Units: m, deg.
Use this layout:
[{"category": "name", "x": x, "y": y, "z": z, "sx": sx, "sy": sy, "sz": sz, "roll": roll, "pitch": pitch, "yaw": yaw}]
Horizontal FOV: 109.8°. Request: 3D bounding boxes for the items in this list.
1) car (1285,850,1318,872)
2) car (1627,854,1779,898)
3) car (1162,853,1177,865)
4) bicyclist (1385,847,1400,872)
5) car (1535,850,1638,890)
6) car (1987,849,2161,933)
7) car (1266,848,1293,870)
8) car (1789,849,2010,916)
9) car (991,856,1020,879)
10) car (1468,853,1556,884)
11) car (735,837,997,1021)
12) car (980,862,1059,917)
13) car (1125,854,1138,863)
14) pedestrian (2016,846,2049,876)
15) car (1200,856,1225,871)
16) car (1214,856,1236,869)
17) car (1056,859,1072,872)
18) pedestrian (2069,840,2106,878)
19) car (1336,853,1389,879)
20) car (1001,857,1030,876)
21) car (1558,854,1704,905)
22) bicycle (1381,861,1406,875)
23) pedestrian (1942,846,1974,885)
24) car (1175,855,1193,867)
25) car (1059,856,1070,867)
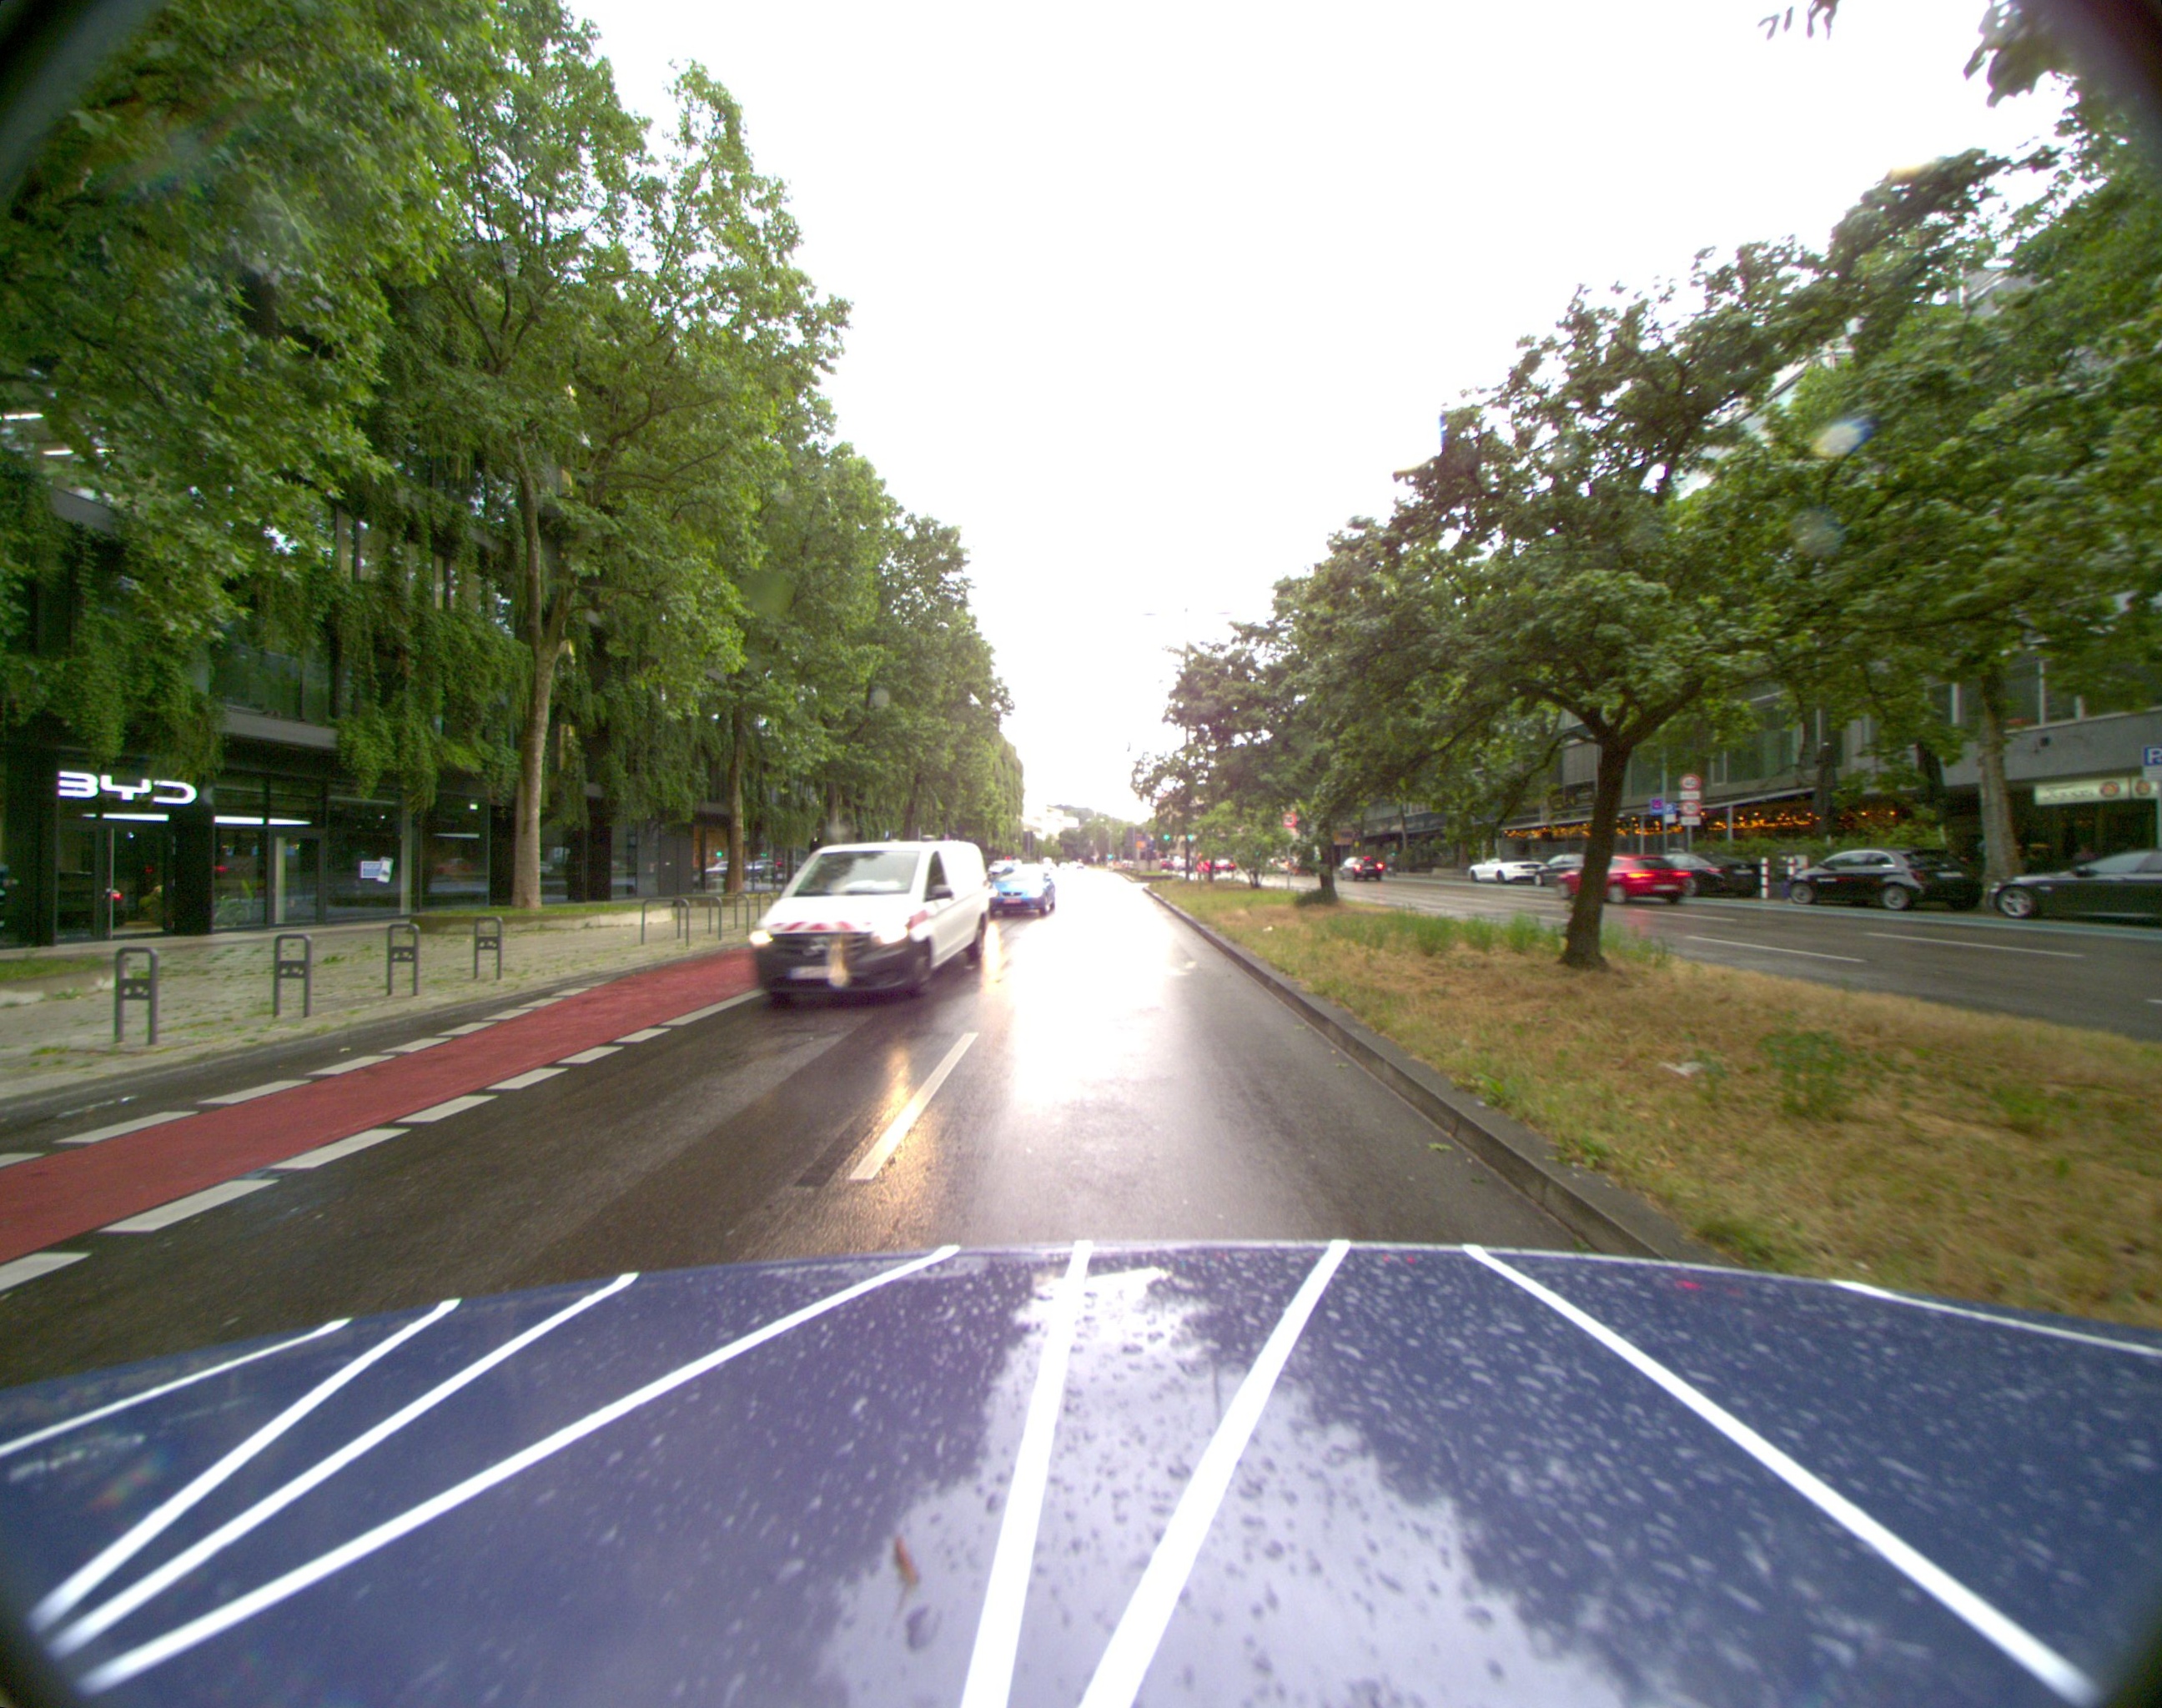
[{"category": "car", "x": 18.000, "y": 0.545, "z": 62.223, "sx": 1.752, "sy": 1.716, "sz": 3.859, "roll": -2, "pitch": 1, "yaw": 4}, {"category": "car", "x": 20.410, "y": 0.670, "z": 25.191, "sx": 1.647, "sy": 1.232, "sz": 4.319, "roll": -2, "pitch": 1, "yaw": 3}, {"category": "car", "x": 12.783, "y": 0.728, "z": 109.975, "sx": 1.678, "sy": 1.621, "sz": 3.527, "roll": -2, "pitch": 1, "yaw": -2}, {"category": "bicyclist", "x": 20.542, "y": 0.358, "z": 50.099, "sx": 0.715, "sy": 1.561, "sz": 0.609, "roll": -2, "pitch": 1, "yaw": 1}, {"category": "car", "x": 20.627, "y": 0.598, "z": 31.198, "sx": 1.750, "sy": 1.445, "sz": 3.789, "roll": -2, "pitch": 1, "yaw": 2}, {"category": "car", "x": 19.896, "y": 0.657, "z": 13.725, "sx": 1.875, "sy": 1.377, "sz": 4.538, "roll": -2, "pitch": 1, "yaw": 5}, {"category": "car", "x": 18.769, "y": 0.456, "z": 71.930, "sx": 1.752, "sy": 1.872, "sz": 3.859, "roll": -2, "pitch": 1, "yaw": 4}, {"category": "car", "x": 20.048, "y": 0.630, "z": 18.841, "sx": 1.875, "sy": 1.414, "sz": 3.400, "roll": -2, "pitch": 1, "yaw": 2}, {"category": "car", "x": -6.360, "y": 1.125, "z": 64.279, "sx": 1.932, "sy": 1.726, "sz": 4.598, "roll": -2, "pitch": 1, "yaw": 1}, {"category": "car", "x": 20.784, "y": 0.668, "z": 36.868, "sx": 1.881, "sy": 1.318, "sz": 4.392, "roll": -2, "pitch": 1, "yaw": 2}, {"category": "car", "x": -2.545, "y": 0.755, "z": 10.480, "sx": 1.923, "sy": 1.935, "sz": 4.964, "roll": 0, "pitch": 1, "yaw": 3}, {"category": "car", "x": -1.790, "y": 1.025, "z": 23.389, "sx": 1.799, "sy": 1.428, "sz": 4.063, "roll": -1, "pitch": 1, "yaw": 4}, {"category": "car", "x": 8.283, "y": 0.742, "z": 125.021, "sx": 1.649, "sy": 1.450, "sz": 3.459, "roll": -2, "pitch": 1, "yaw": -2}, {"category": "pedestrian", "x": 27.962, "y": 0.196, "z": 22.332, "sx": 0.440, "sy": 0.845, "sz": 0.433, "roll": -2, "pitch": 1, "yaw": -1}, {"category": "car", "x": 12.715, "y": 0.898, "z": 73.515, "sx": 1.678, "sy": 1.381, "sz": 3.527, "roll": -2, "pitch": 1, "yaw": -2}, {"category": "car", "x": 16.489, "y": 0.952, "z": 87.002, "sx": 1.678, "sy": 1.381, "sz": 3.527, "roll": -2, "pitch": 1, "yaw": -2}, {"category": "car", "x": -2.122, "y": 1.426, "z": 95.219, "sx": 1.780, "sy": 1.546, "sz": 3.929, "roll": -2, "pitch": 1, "yaw": 1}, {"category": "pedestrian", "x": 27.773, "y": 0.133, "z": 20.966, "sx": 0.464, "sy": 1.010, "sz": 0.424, "roll": -2, "pitch": 1, "yaw": -1}, {"category": "car", "x": 17.050, "y": 0.710, "z": 46.245, "sx": 1.868, "sy": 1.408, "sz": 4.105, "roll": -2, "pitch": 1, "yaw": 4}, {"category": "car", "x": -6.033, "y": 1.108, "z": 70.161, "sx": 2.036, "sy": 1.553, "sz": 4.585, "roll": -2, "pitch": 1, "yaw": 3}, {"category": "car", "x": 16.505, "y": 0.714, "z": 23.044, "sx": 1.765, "sy": 1.318, "sz": 3.738, "roll": -2, "pitch": 1, "yaw": 2}, {"category": "bicycle", "x": 20.562, "y": 0.935, "z": 50.075, "sx": 0.715, "sy": 0.837, "sz": 2.231, "roll": -2, "pitch": 1, "yaw": 1}, {"category": "pedestrian", "x": 27.708, "y": 0.355, "z": 24.008, "sx": 0.466, "sy": 1.179, "sz": 0.445, "roll": -2, "pitch": 1, "yaw": 4}, {"category": "car", "x": 13.013, "y": 0.894, "z": 96.508, "sx": 1.678, "sy": 1.381, "sz": 3.527, "roll": -2, "pitch": 1, "yaw": -2}, {"category": "car", "x": -2.624, "y": 1.148, "z": 119.837, "sx": 1.556, "sy": 1.534, "sz": 3.663, "roll": -2, "pitch": 1, "yaw": 1}]
